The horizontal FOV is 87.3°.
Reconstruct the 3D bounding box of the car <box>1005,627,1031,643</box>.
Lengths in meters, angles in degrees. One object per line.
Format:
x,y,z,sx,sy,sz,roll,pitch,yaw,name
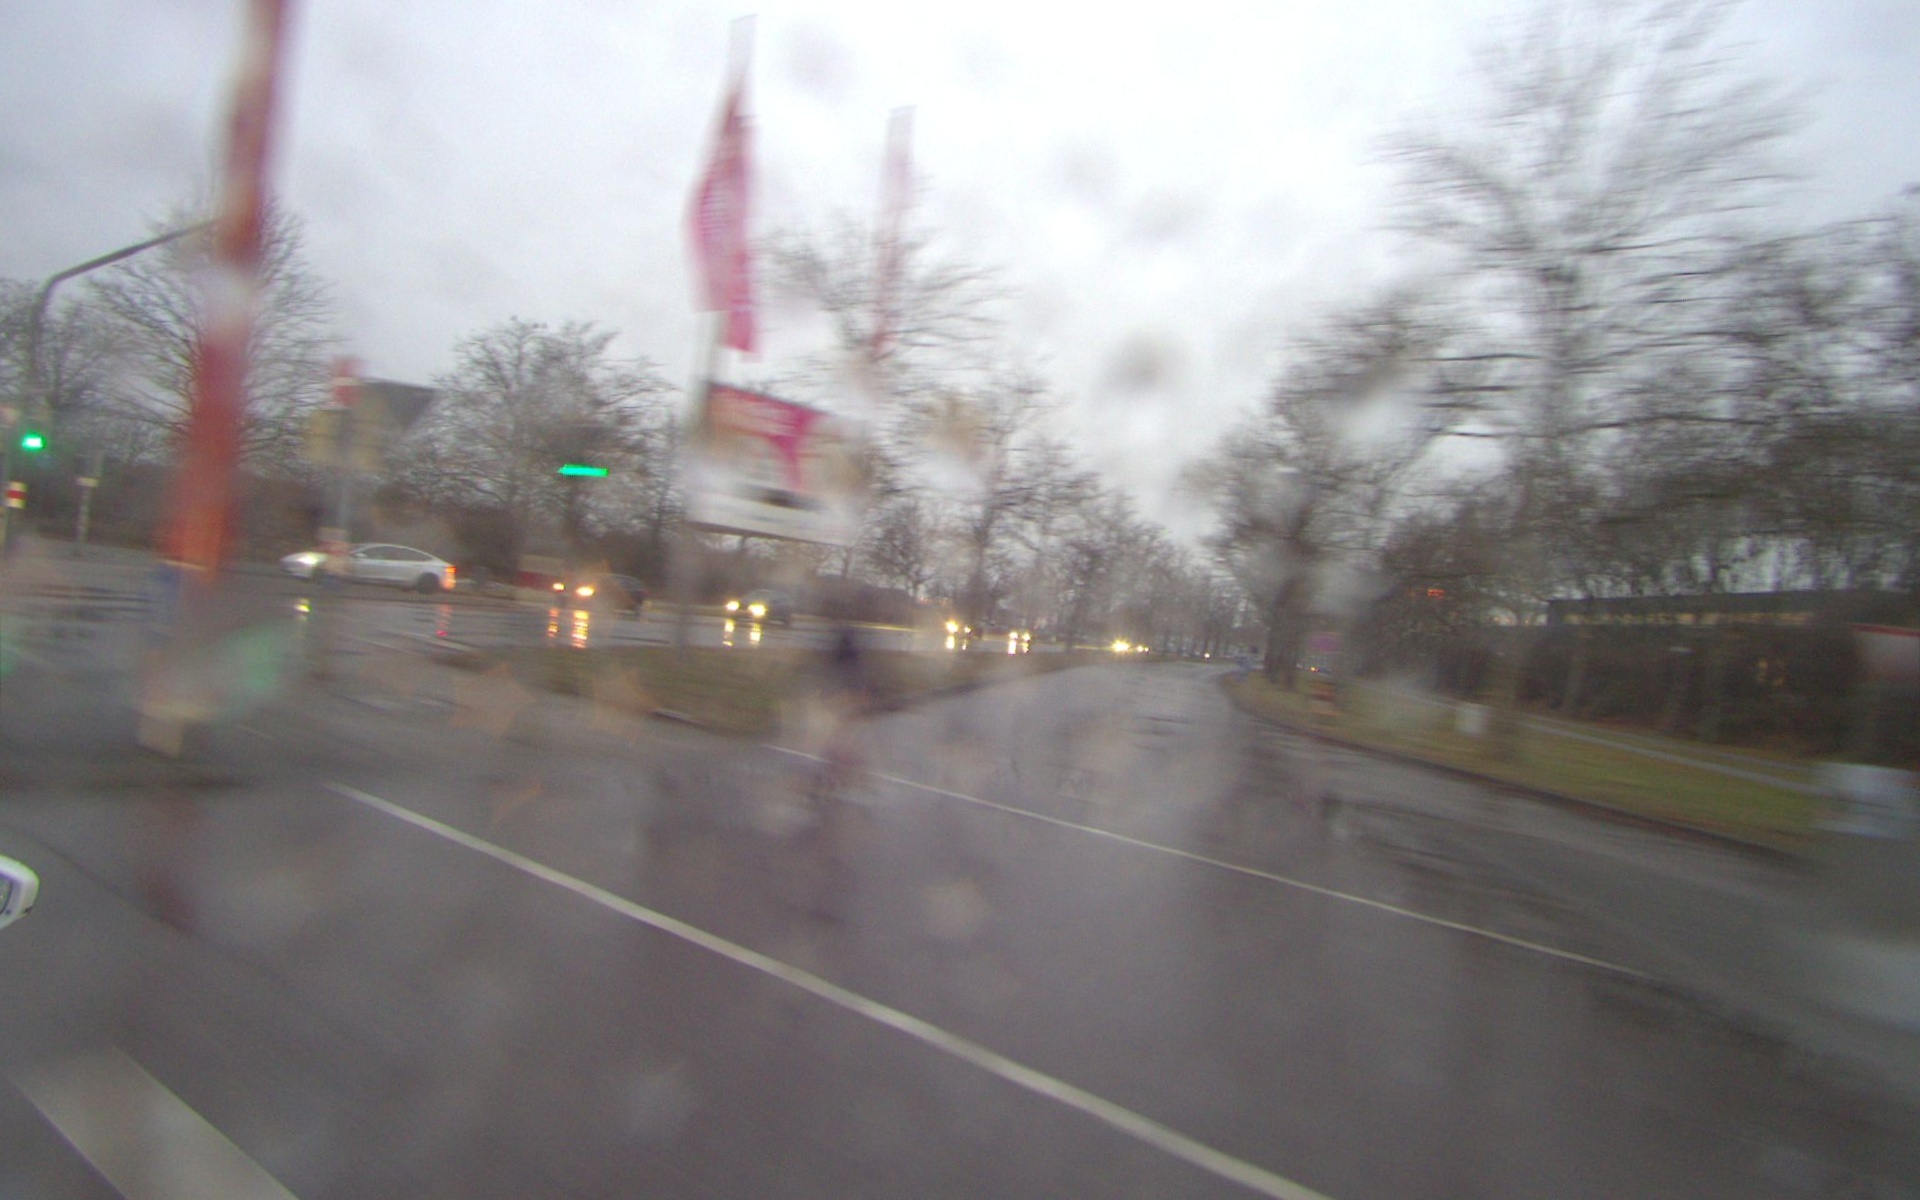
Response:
6.237,3.758,107.318,1.627,1.361,3.891,7,-1,19,car

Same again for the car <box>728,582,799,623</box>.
-9.768,0.169,50.373,1.627,1.655,3.891,7,-1,19,car

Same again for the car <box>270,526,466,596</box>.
-17.972,-1.150,30.720,1.856,1.392,4.736,7,-2,40,car

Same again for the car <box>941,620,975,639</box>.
-0.177,2.556,86.979,1.627,1.361,3.891,7,-1,19,car

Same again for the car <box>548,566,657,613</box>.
-13.505,-0.354,38.239,1.607,1.325,4.001,7,-1,20,car
